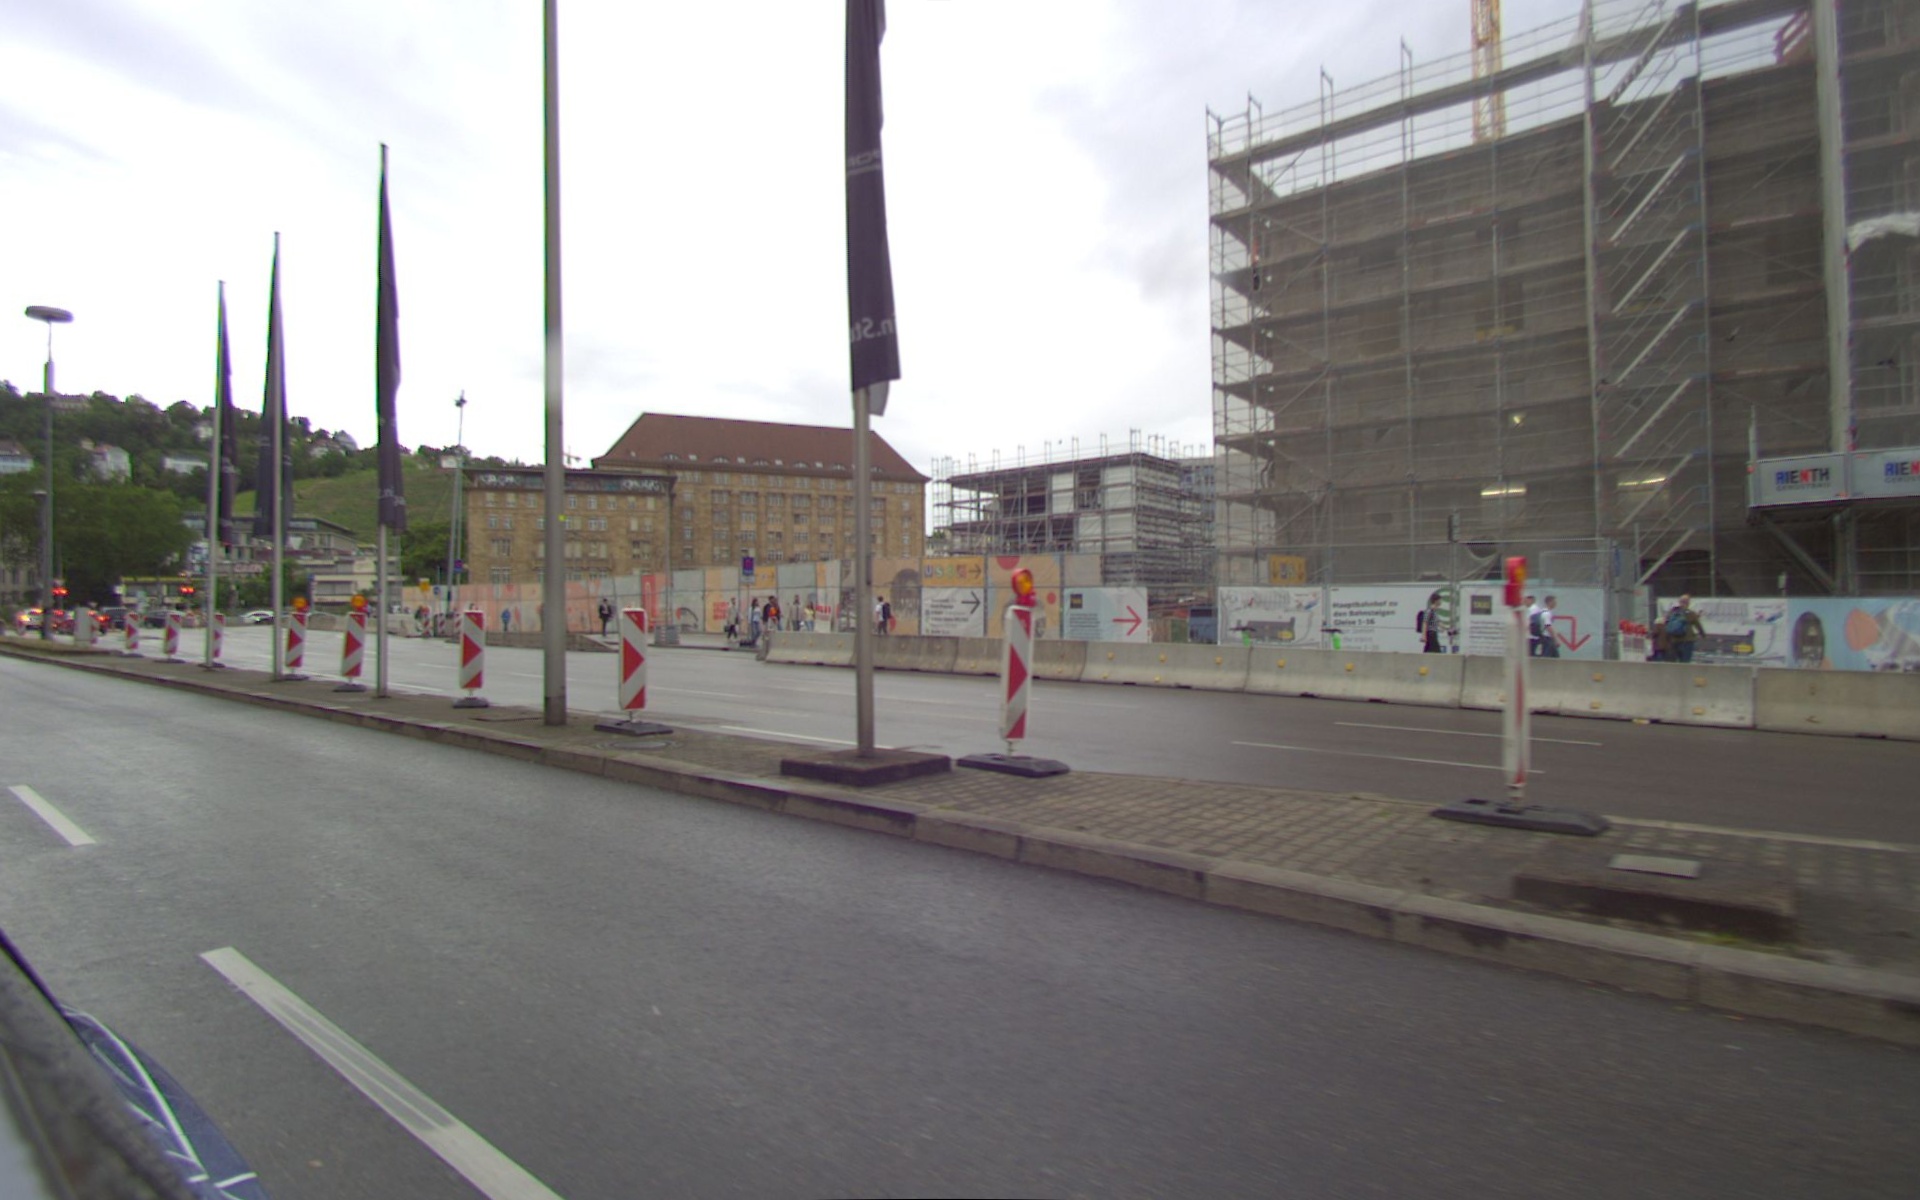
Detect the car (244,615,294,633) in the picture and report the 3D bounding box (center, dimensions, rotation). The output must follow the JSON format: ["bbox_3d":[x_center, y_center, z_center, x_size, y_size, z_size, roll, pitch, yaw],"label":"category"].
[{"bbox_3d":[-74.809,2.576,109.586,4.136,1.871,1.833,-1,1,-44],"label":"car"}]

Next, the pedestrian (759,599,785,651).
[{"bbox_3d":[-6.863,0.908,36.926,0.704,1.850,0.719,-1,1,-30],"label":"pedestrian"}]

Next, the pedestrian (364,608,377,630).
[{"bbox_3d":[-43.213,1.374,74.214,0.705,1.628,0.544,-1,1,-44],"label":"pedestrian"}]

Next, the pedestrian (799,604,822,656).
[{"bbox_3d":[-5.431,1.070,36.781,0.651,1.850,0.557,-1,1,-29],"label":"pedestrian"}]

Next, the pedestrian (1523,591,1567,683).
[{"bbox_3d":[12.077,0.745,20.893,0.717,1.850,0.475,0,1,41],"label":"pedestrian"}]

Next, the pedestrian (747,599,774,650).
[{"bbox_3d":[-7.033,0.858,35.681,0.704,1.746,0.719,-1,1,-30],"label":"pedestrian"}]

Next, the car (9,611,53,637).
[{"bbox_3d":[-64.923,1.665,70.708,3.913,1.706,1.763,0,1,40],"label":"car"}]

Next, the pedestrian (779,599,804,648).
[{"bbox_3d":[-6.072,0.836,36.450,0.704,1.757,0.565,-1,1,-29],"label":"pedestrian"}]

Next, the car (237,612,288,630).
[{"bbox_3d":[-66.224,1.994,96.069,3.934,1.644,2.005,0,-1,-36],"label":"car"}]

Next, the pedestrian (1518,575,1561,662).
[{"bbox_3d":[12.495,0.385,21.831,0.717,1.850,0.475,0,1,41],"label":"pedestrian"}]

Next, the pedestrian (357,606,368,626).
[{"bbox_3d":[-49.698,1.363,84.220,0.704,1.628,0.545,-1,1,-35],"label":"pedestrian"}]

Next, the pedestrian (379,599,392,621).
[{"bbox_3d":[-42.481,0.715,74.864,0.705,1.628,0.544,-1,1,-44],"label":"pedestrian"}]

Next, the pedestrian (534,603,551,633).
[{"bbox_3d":[-23.089,1.006,55.981,0.544,1.628,0.706,0,1,41],"label":"pedestrian"}]

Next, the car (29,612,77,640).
[{"bbox_3d":[-59.395,1.650,66.226,3.913,1.706,1.763,0,1,40],"label":"car"}]

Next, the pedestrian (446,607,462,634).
[{"bbox_3d":[-30.788,1.257,61.560,0.544,1.628,0.706,0,1,41],"label":"pedestrian"}]

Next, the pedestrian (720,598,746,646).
[{"bbox_3d":[-8.870,0.850,39.550,0.720,1.850,0.656,0,1,41],"label":"pedestrian"}]

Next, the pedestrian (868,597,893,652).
[{"bbox_3d":[-2.702,0.819,34.548,0.717,1.850,0.475,0,1,41],"label":"pedestrian"}]

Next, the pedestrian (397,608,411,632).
[{"bbox_3d":[-38.335,1.395,69.782,0.544,1.628,0.706,0,1,41],"label":"pedestrian"}]

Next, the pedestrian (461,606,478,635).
[{"bbox_3d":[-28.174,1.174,58.098,0.544,1.628,0.706,0,1,41],"label":"pedestrian"}]

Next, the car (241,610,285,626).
[{"bbox_3d":[-77.086,1.977,111.904,3.934,1.644,2.005,0,-1,-36],"label":"car"}]

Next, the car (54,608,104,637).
[{"bbox_3d":[-54.012,1.342,62.033,3.914,1.707,1.762,-1,-1,41],"label":"car"}]

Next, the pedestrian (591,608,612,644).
[{"bbox_3d":[-16.513,1.186,46.657,0.544,1.628,0.706,0,1,41],"label":"pedestrian"}]

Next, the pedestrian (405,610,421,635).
[{"bbox_3d":[-35.804,1.484,66.242,0.544,1.628,0.706,0,1,41],"label":"pedestrian"}]

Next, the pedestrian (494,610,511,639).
[{"bbox_3d":[-26.232,1.400,58.062,0.544,1.628,0.706,0,1,41],"label":"pedestrian"}]

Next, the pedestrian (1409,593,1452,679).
[{"bbox_3d":[10.338,0.766,22.239,0.717,1.850,0.579,0,1,41],"label":"pedestrian"}]

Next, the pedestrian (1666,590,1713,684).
[{"bbox_3d":[14.648,0.720,20.314,0.717,1.850,0.475,0,1,41],"label":"pedestrian"}]
